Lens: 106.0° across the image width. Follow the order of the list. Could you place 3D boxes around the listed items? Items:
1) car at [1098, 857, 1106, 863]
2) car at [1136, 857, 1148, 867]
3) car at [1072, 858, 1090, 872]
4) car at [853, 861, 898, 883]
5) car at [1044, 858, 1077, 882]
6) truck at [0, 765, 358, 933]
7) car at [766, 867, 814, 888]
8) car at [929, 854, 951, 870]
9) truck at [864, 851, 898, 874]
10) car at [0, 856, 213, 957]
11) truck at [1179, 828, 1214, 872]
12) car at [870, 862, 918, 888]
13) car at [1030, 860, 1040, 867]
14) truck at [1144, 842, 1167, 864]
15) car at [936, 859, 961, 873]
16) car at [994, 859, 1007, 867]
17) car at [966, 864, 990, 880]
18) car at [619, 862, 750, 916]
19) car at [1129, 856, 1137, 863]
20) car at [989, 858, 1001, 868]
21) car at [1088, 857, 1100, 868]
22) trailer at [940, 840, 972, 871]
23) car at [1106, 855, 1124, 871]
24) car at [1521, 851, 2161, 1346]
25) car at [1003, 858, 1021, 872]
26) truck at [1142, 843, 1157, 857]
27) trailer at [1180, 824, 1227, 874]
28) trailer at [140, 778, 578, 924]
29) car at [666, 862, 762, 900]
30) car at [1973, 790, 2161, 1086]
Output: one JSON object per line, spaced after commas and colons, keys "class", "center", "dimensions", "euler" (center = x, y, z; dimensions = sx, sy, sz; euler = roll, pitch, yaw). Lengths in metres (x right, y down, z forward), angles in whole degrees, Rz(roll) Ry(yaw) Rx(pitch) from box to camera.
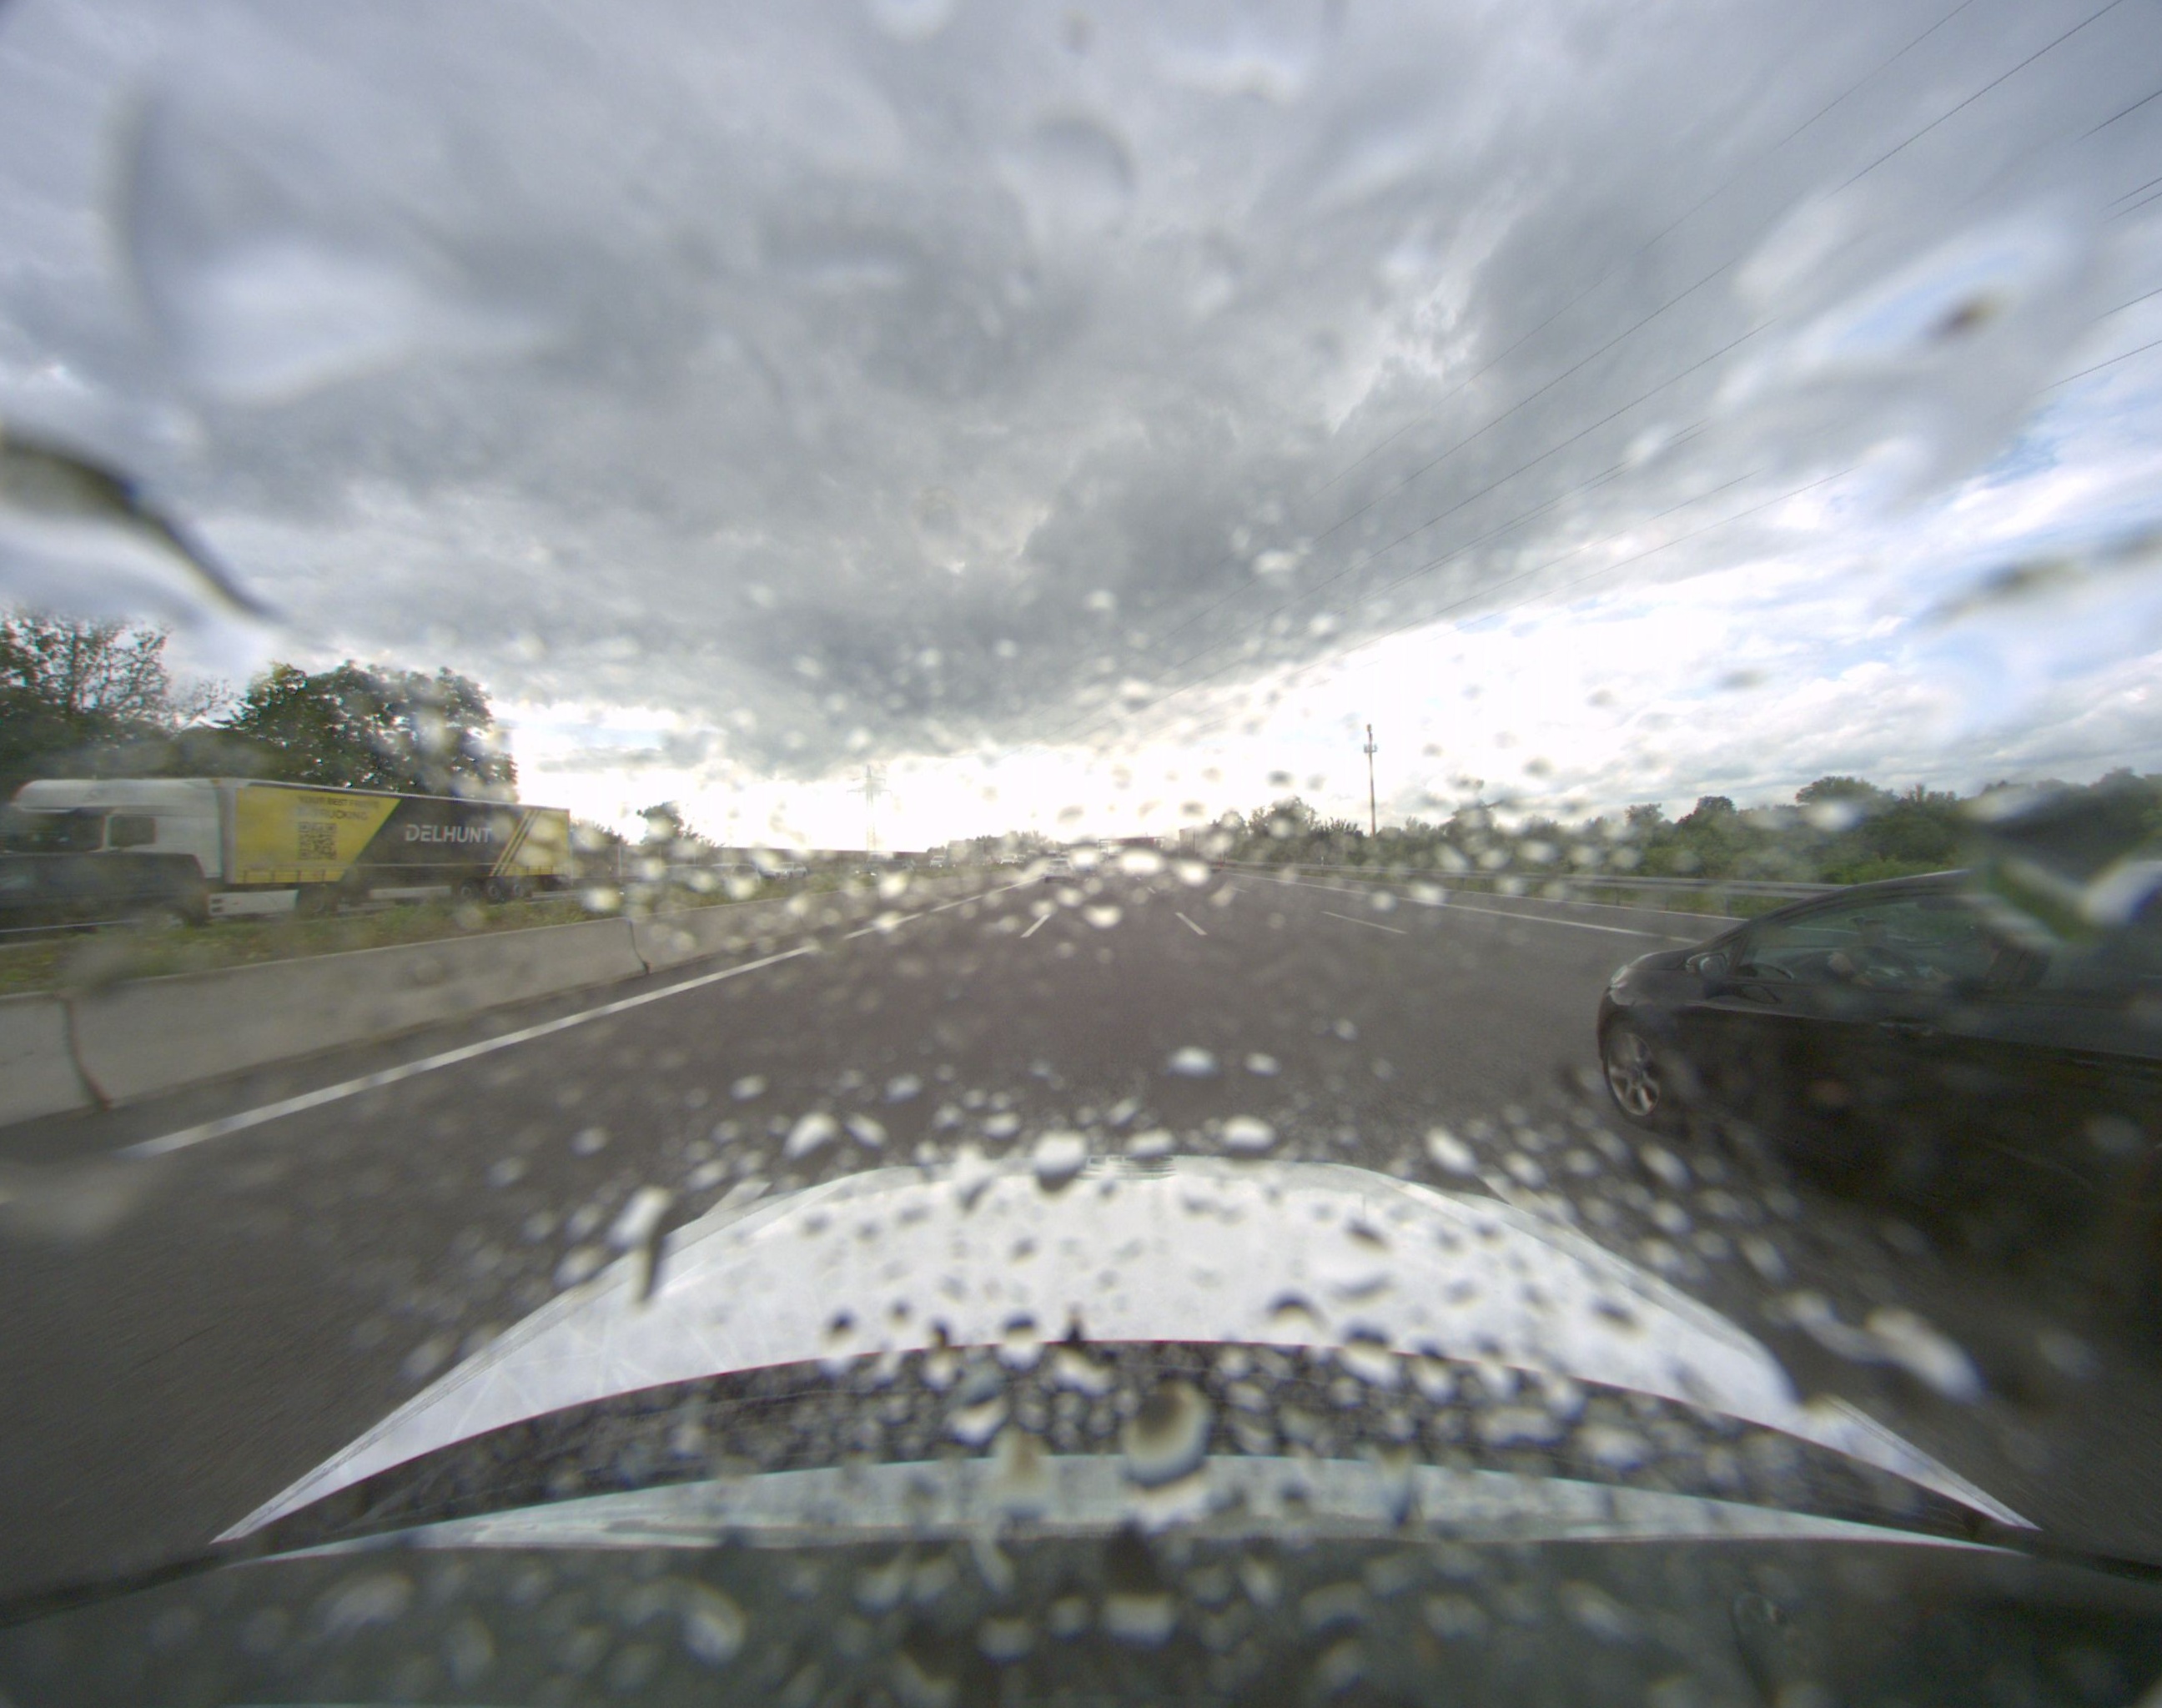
{"class": "car", "center": [4.961, 1.427, 194.914], "dimensions": [1.765, 1.441, 4.059], "euler": [-1, 0, 3]}
{"class": "car", "center": [9.505, 1.200, 127.131], "dimensions": [1.828, 1.441, 4.059], "euler": [-1, 0, 3]}
{"class": "car", "center": [0.014, 1.165, 86.193], "dimensions": [1.766, 1.441, 4.057], "euler": [-1, 0, 2]}
{"class": "car", "center": [-15.459, 1.320, 61.467], "dimensions": [1.759, 1.549, 5.716], "euler": [0, 0, 2]}
{"class": "car", "center": [-1.248, 0.975, 50.718], "dimensions": [1.765, 1.441, 3.876], "euler": [-1, 0, 2]}
{"class": "truck", "center": [-24.295, -0.092, 22.512], "dimensions": [2.667, 3.964, 6.446], "euler": [0, -1, 2]}
{"class": "car", "center": [-22.899, 1.836, 64.261], "dimensions": [1.759, 1.496, 5.162], "euler": [0, 0, 2]}
{"class": "car", "center": [-20.700, 1.181, 119.767], "dimensions": [2.108, 2.194, 5.800], "euler": [0, -1, 2]}
{"class": "truck", "center": [-21.871, 0.943, 89.227], "dimensions": [2.108, 2.417, 5.799], "euler": [0, -1, 2]}
{"class": "car", "center": [-21.078, 0.991, 16.358], "dimensions": [1.759, 1.894, 5.041], "euler": [0, -1, 2]}
{"class": "truck", "center": [11.209, -0.371, 79.629], "dimensions": [2.948, 4.020, 6.595], "euler": [-1, 0, 4]}
{"class": "car", "center": [-11.984, 1.306, 52.537], "dimensions": [1.759, 1.537, 5.162], "euler": [0, 0, 2]}
{"class": "car", "center": [-10.199, 2.138, 180.059], "dimensions": [1.759, 1.454, 4.235], "euler": [0, 0, 2]}
{"class": "truck", "center": [15.156, -0.216, 167.521], "dimensions": [4.163, 4.288, 12.621], "euler": [0, 0, 3]}
{"class": "car", "center": [-14.330, 1.297, 88.337], "dimensions": [1.759, 1.537, 5.162], "euler": [0, 0, 2]}
{"class": "car", "center": [-15.209, 1.763, 154.606], "dimensions": [1.759, 1.454, 4.945], "euler": [0, 0, 2]}
{"class": "car", "center": [-10.471, 1.842, 82.890], "dimensions": [1.759, 1.537, 4.485], "euler": [0, 0, 2]}
{"class": "car", "center": [-12.359, 1.039, 25.764], "dimensions": [1.759, 1.537, 4.585], "euler": [0, 0, 2]}
{"class": "car", "center": [11.769, 1.305, 185.485], "dimensions": [1.828, 1.441, 4.059], "euler": [-1, 0, 3]}
{"class": "car", "center": [-18.132, 1.870, 171.365], "dimensions": [1.759, 1.967, 4.945], "euler": [0, -1, 2]}
{"class": "car", "center": [1.882, 1.189, 117.335], "dimensions": [1.766, 1.441, 4.056], "euler": [-1, 0, 1]}
{"class": "trailer", "center": [-17.119, 0.196, 111.873], "dimensions": [3.307, 4.044, 6.081], "euler": [0, -1, 2]}
{"class": "car", "center": [3.326, 0.879, 79.776], "dimensions": [1.766, 1.441, 4.057], "euler": [-1, 0, 2]}
{"class": "car", "center": [3.690, 0.722, 3.975], "dimensions": [1.441, 1.441, 3.165], "euler": [-1, 0, 2]}
{"class": "car", "center": [-9.348, 1.464, 110.676], "dimensions": [1.915, 1.899, 5.162], "euler": [0, -1, 2]}
{"class": "truck", "center": [20.690, -1.192, 244.914], "dimensions": [4.225, 4.176, 12.000], "euler": [0, -1, 4]}
{"class": "trailer", "center": [10.734, -0.370, 72.669], "dimensions": [2.948, 4.020, 14.133], "euler": [-1, 0, 4]}
{"class": "trailer", "center": [-24.003, -0.023, 29.206], "dimensions": [2.667, 3.964, 14.060], "euler": [0, 0, 3]}
{"class": "car", "center": [-16.116, 1.119, 36.090], "dimensions": [1.759, 1.537, 5.242], "euler": [0, 0, 2]}
{"class": "car", "center": [7.414, 0.482, 3.653], "dimensions": [1.913, 1.776, 4.503], "euler": [-1, -1, 1]}
